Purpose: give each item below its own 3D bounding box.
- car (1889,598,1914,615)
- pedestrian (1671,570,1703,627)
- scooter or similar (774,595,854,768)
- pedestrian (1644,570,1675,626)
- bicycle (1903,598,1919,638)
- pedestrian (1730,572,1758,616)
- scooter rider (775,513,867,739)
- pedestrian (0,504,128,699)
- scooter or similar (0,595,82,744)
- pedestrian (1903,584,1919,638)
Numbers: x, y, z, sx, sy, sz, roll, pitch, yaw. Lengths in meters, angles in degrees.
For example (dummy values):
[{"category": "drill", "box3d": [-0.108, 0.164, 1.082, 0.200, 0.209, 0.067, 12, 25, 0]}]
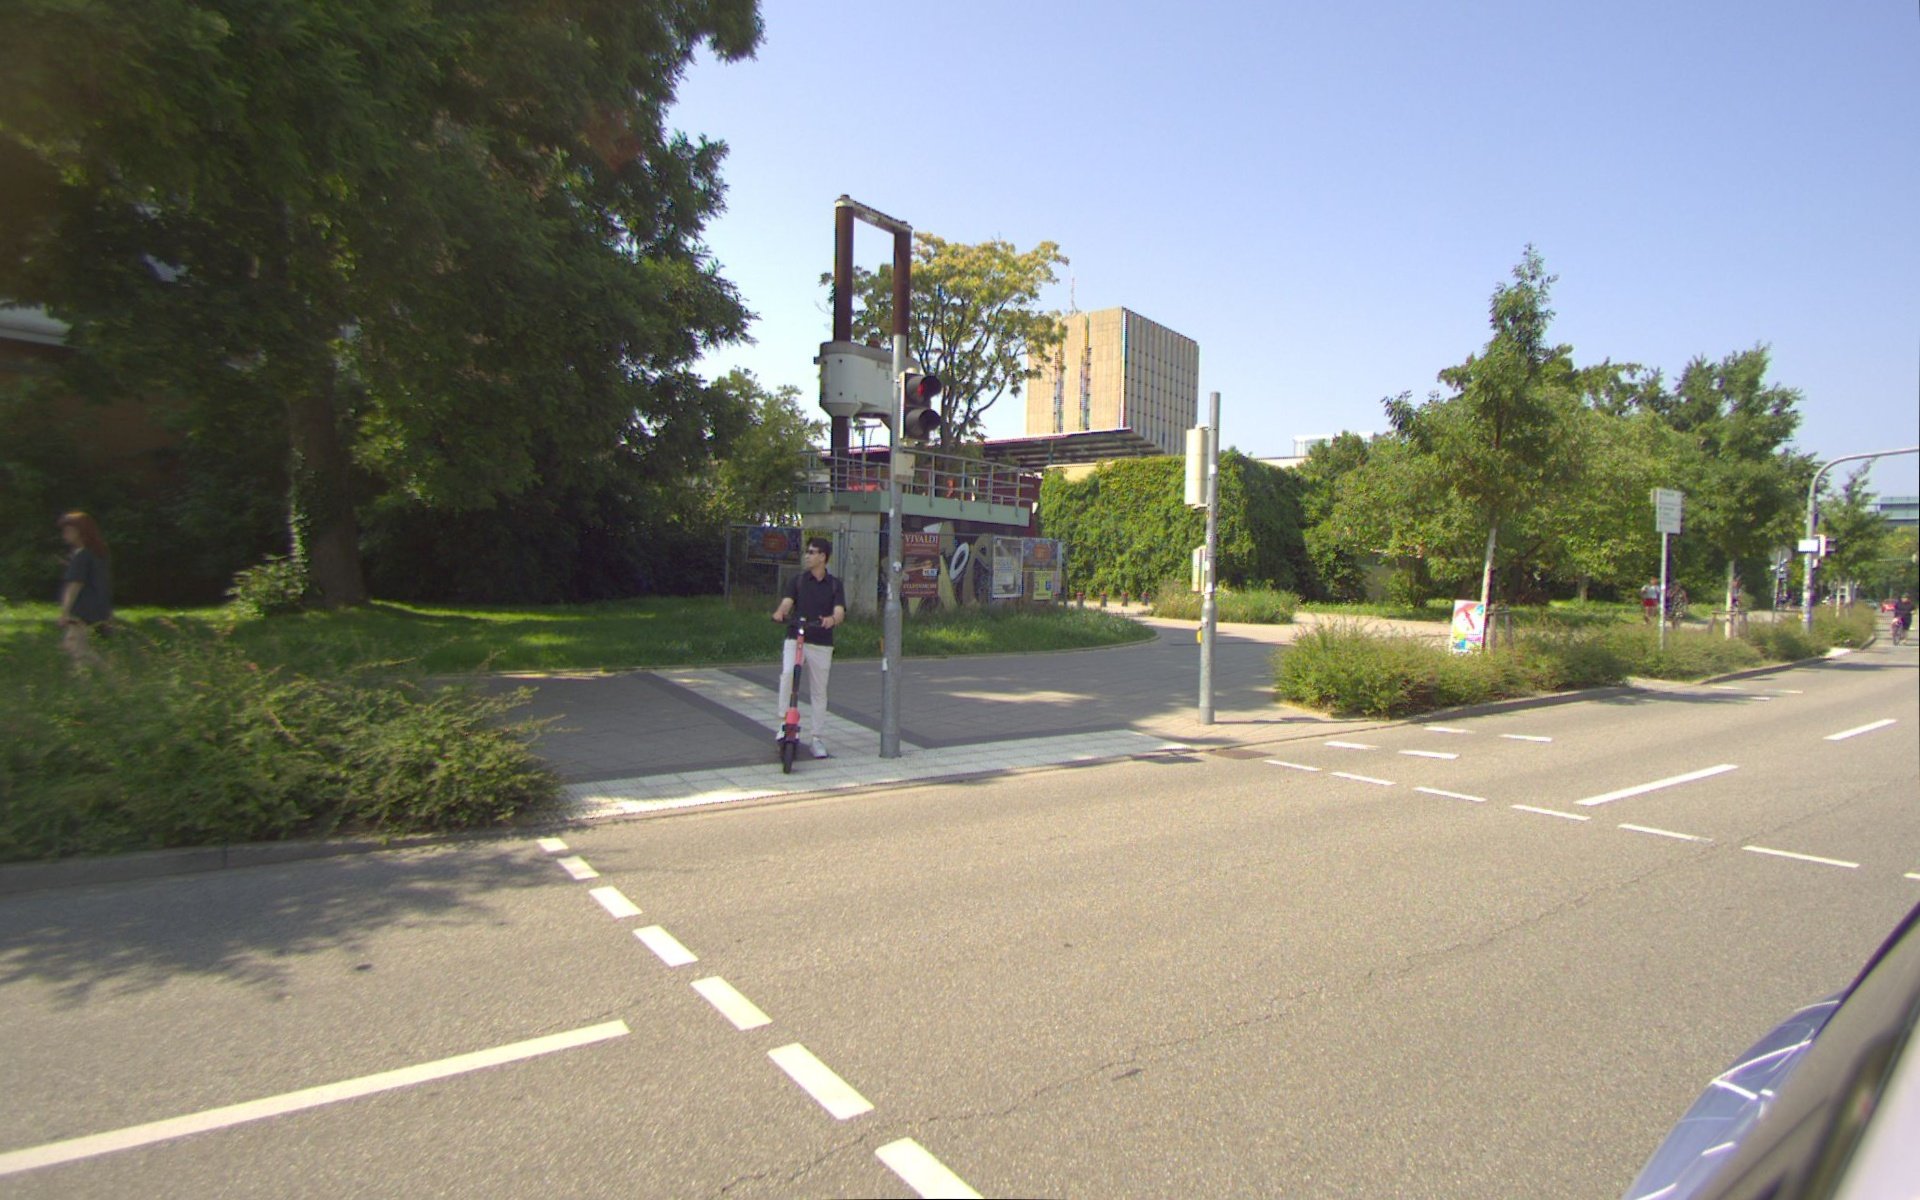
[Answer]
[{"category": "car", "box3d": [106.564, 0.735, 114.598, 1.993, 1.801, 3.938, 2, 2, 43]}, {"category": "pedestrian", "box3d": [23.106, -0.060, 32.168, 0.692, 1.793, 0.578, 3, 2, 44]}, {"category": "scooter or similar", "box3d": [-1.229, 0.619, 8.373, 0.573, 1.249, 1.371, 1, 2, -10]}, {"category": "pedestrian", "box3d": [22.528, -0.074, 32.596, 0.692, 1.793, 0.578, 3, 2, 44]}, {"category": "bicycle", "box3d": [30.516, 0.561, 32.143, 0.784, 1.227, 1.761, 3, 2, 43]}, {"category": "pedestrian", "box3d": [32.678, -0.243, 42.190, 0.791, 1.790, 0.813, 2, 2, 44]}, {"category": "scooter rider", "box3d": [-1.163, 0.193, 8.347, 0.674, 1.760, 0.807, 1, 2, -10]}, {"category": "pedestrian", "box3d": [-8.369, -0.007, 9.440, 0.862, 1.725, 0.708, 1, 3, -34]}, {"category": "scooter or similar", "box3d": [-7.890, 0.502, 7.565, 1.962, 1.073, 0.559, 1, 2, -15]}, {"category": "pedestrian", "box3d": [30.448, 0.346, 32.051, 0.778, 1.690, 0.540, 3, 2, 44]}]
